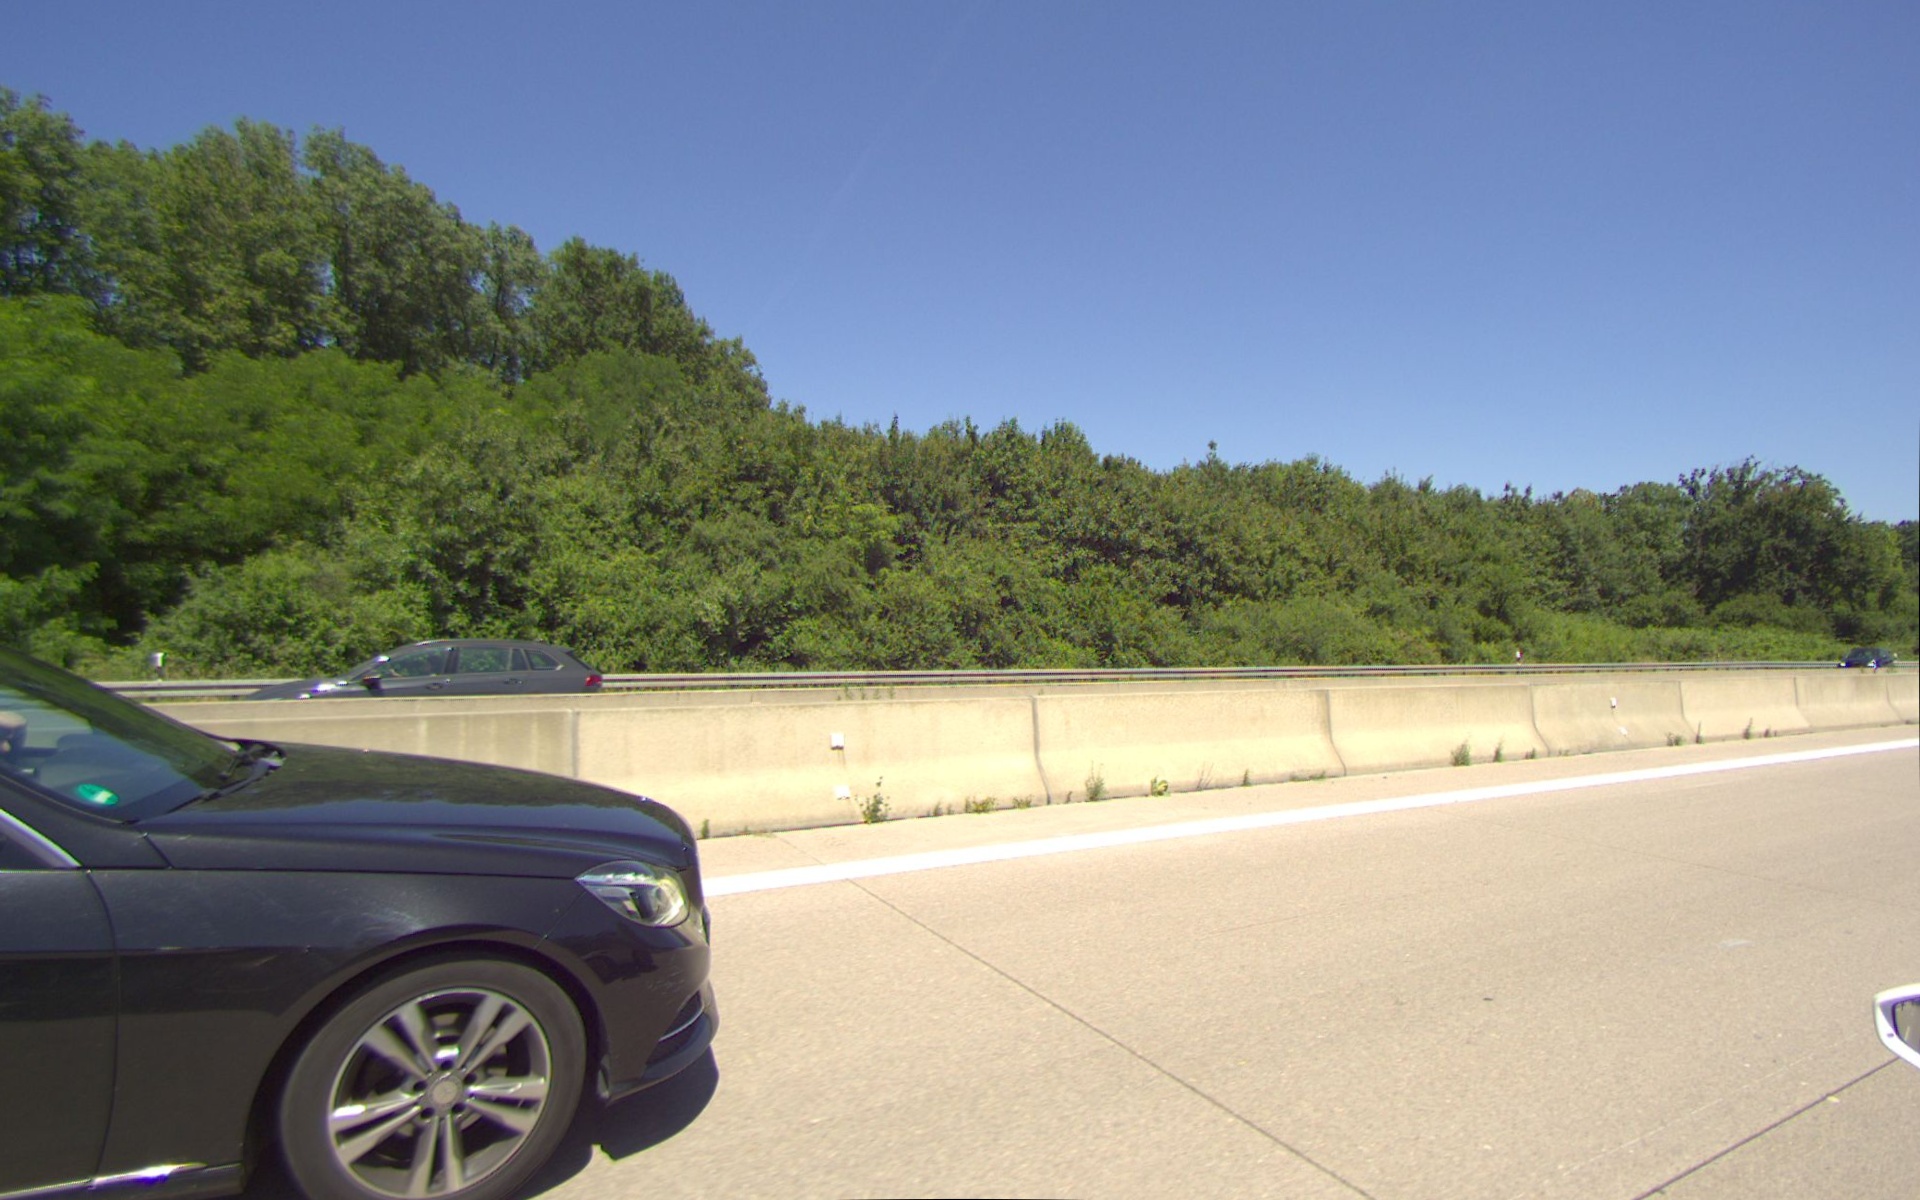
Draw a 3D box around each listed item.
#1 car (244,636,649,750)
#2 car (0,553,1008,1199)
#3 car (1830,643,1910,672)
[{"bbox_3d":[-7.012,1.205,14.108,4.807,1.333,1.667,2,-1,-32],"label":"car"},{"bbox_3d":[-2.699,0.663,2.479,5.538,1.493,1.882,1,-1,-31],"label":"car"},{"bbox_3d":[46.221,2.891,51.020,3.953,1.394,1.919,2,-2,-30],"label":"car"}]
